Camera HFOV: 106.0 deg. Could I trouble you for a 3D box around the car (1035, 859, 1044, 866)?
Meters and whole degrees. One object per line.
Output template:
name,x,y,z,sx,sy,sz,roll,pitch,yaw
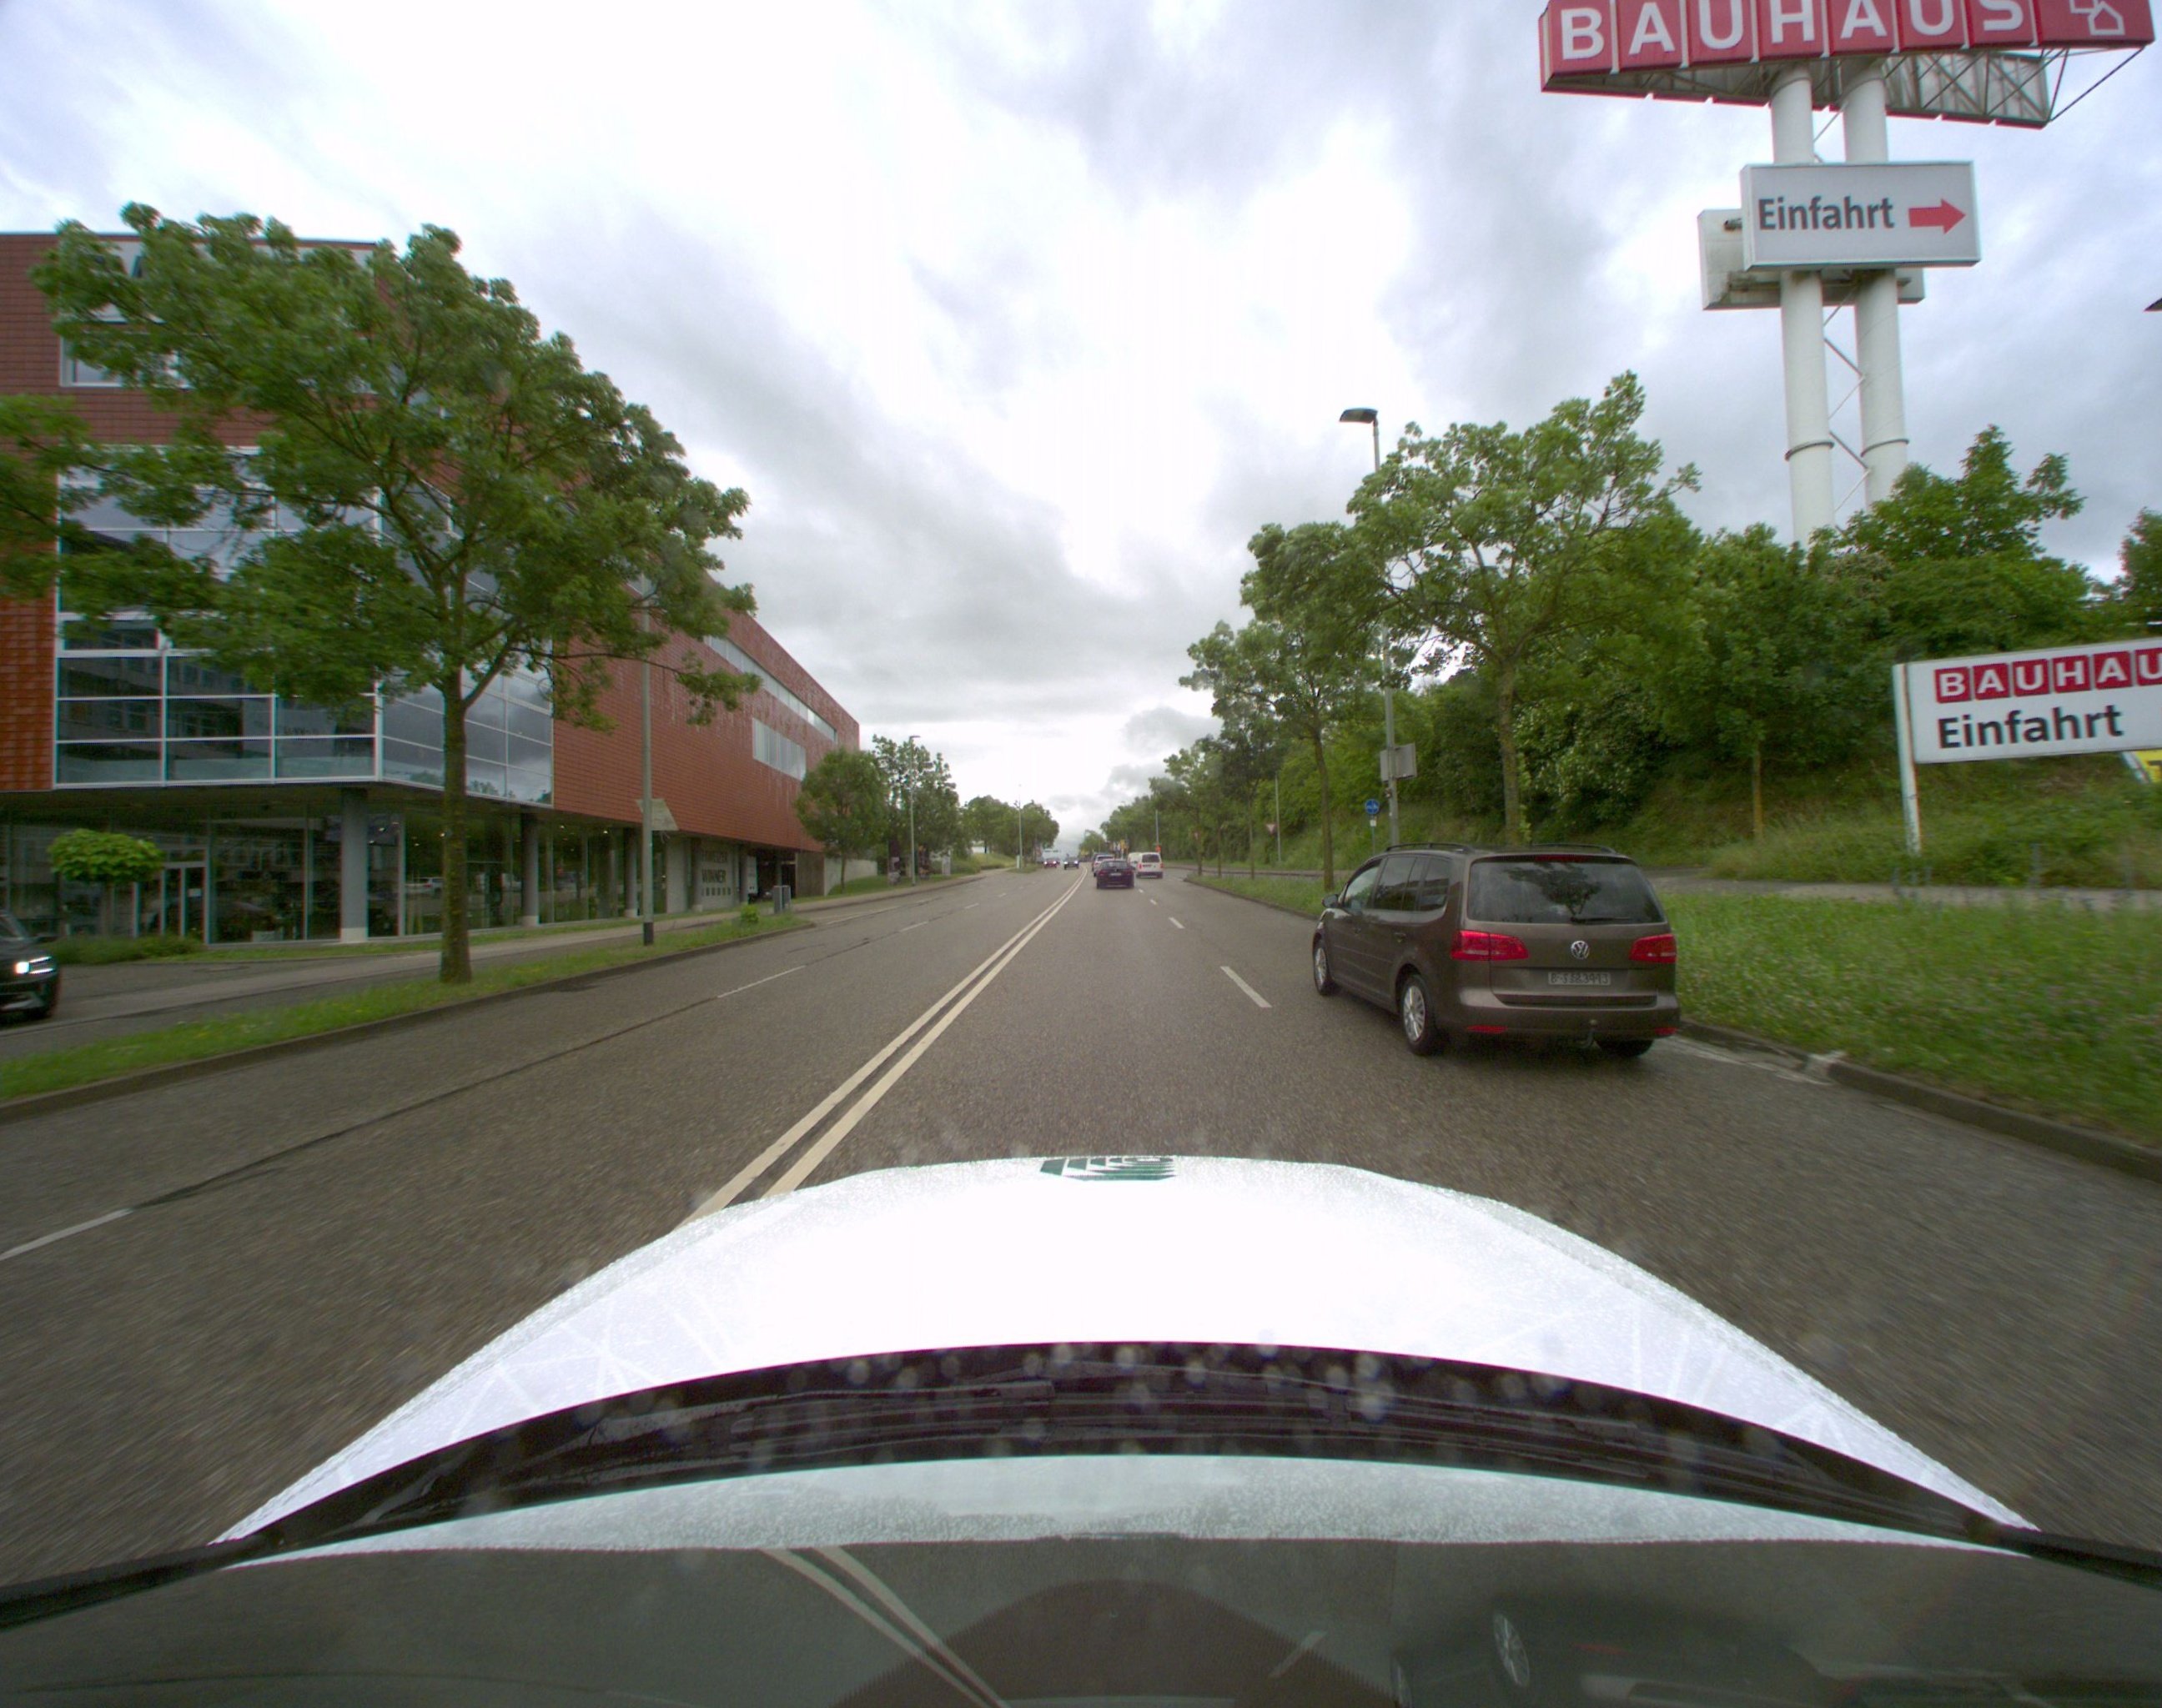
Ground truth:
car,-8.838,1.813,172.962,1.789,1.510,3.997,0,-1,-2

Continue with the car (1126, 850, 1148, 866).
car,5.392,0.450,79.145,1.789,1.510,3.998,0,-1,-1

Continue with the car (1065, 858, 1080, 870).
car,-1.086,1.232,104.629,1.789,1.510,3.997,0,-1,-2

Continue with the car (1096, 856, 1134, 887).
car,1.720,0.827,41.063,1.820,1.468,4.002,0,0,2

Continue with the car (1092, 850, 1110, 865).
car,2.036,0.420,84.134,1.788,1.510,4.001,0,-1,1

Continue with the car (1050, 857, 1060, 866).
car,-4.902,1.419,152.850,1.789,1.510,3.997,0,-1,-2

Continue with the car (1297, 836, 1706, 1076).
car,3.357,0.680,7.528,1.679,1.581,4.219,-1,0,1

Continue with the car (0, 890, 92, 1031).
car,-16.006,1.471,11.725,4.228,1.682,1.812,0,1,33

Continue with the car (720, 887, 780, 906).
car,-23.139,2.978,56.961,3.520,1.284,1.522,0,-1,4

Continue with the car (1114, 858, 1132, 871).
car,4.833,1.182,93.437,1.789,1.510,3.997,0,-1,-2

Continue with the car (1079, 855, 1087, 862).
car,0.482,1.093,188.119,1.788,1.510,3.999,0,-1,0

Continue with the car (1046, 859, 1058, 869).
car,-4.246,1.487,120.880,1.789,1.510,3.997,0,-1,-2

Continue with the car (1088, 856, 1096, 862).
car,2.714,1.258,199.356,1.788,1.510,3.999,0,-1,0

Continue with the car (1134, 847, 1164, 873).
car,4.790,0.436,57.604,1.821,1.759,4.000,0,0,0

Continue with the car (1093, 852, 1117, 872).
car,1.819,0.662,63.440,1.788,1.510,4.000,0,-1,0
